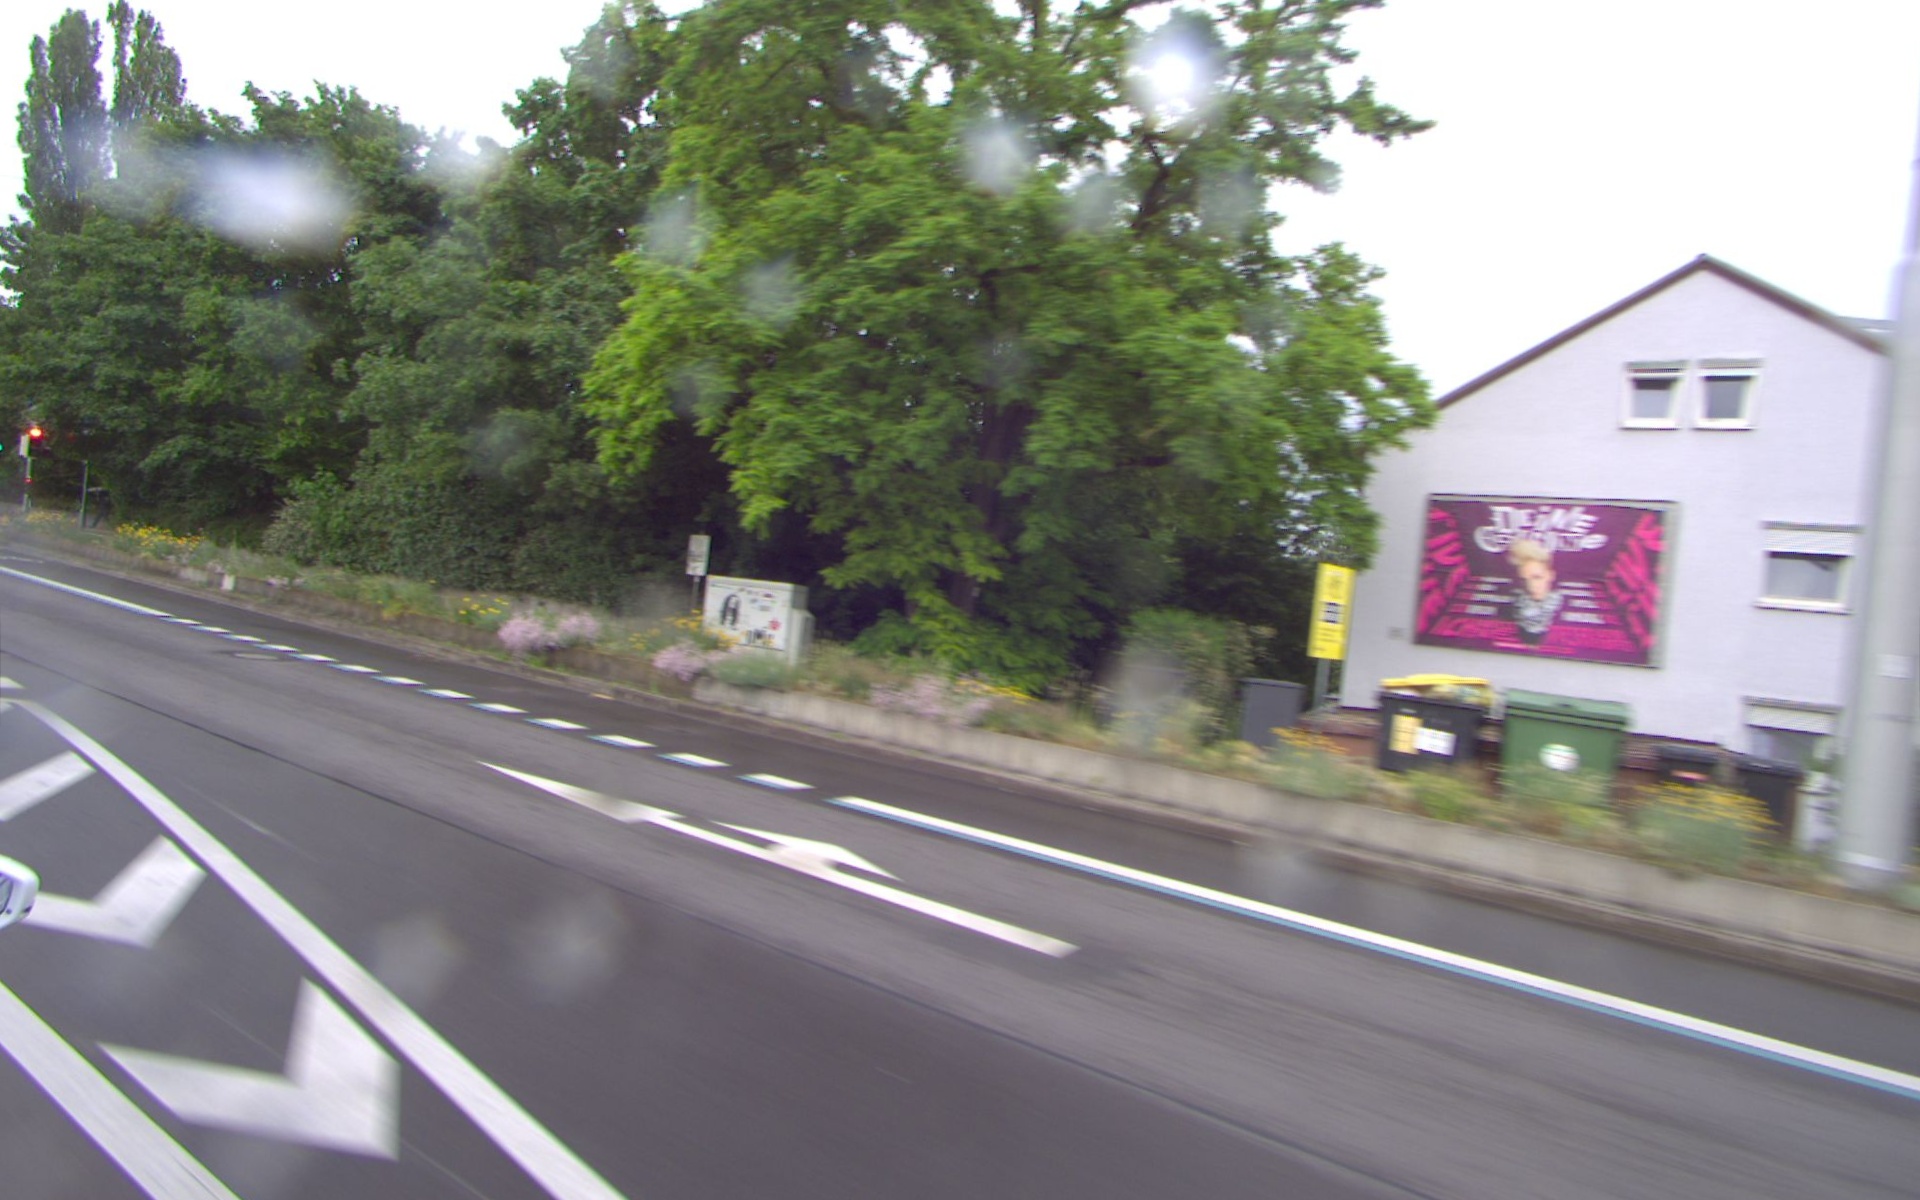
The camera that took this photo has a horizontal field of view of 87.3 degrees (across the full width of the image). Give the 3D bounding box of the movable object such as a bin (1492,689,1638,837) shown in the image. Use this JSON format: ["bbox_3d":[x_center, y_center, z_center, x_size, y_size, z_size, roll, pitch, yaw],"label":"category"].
[{"bbox_3d":[6.945,1.834,11.648,1.278,1.434,1.314,5,-3,29],"label":"movable object such as a bin"}]

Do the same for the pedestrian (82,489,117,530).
[{"bbox_3d":[-37.020,-3.906,43.278,0.672,1.625,0.809,5,-2,32],"label":"pedestrian"}]

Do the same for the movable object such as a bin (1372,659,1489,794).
[{"bbox_3d":[5.759,1.525,12.286,1.115,1.434,1.187,5,-3,29],"label":"movable object such as a bin"}]
